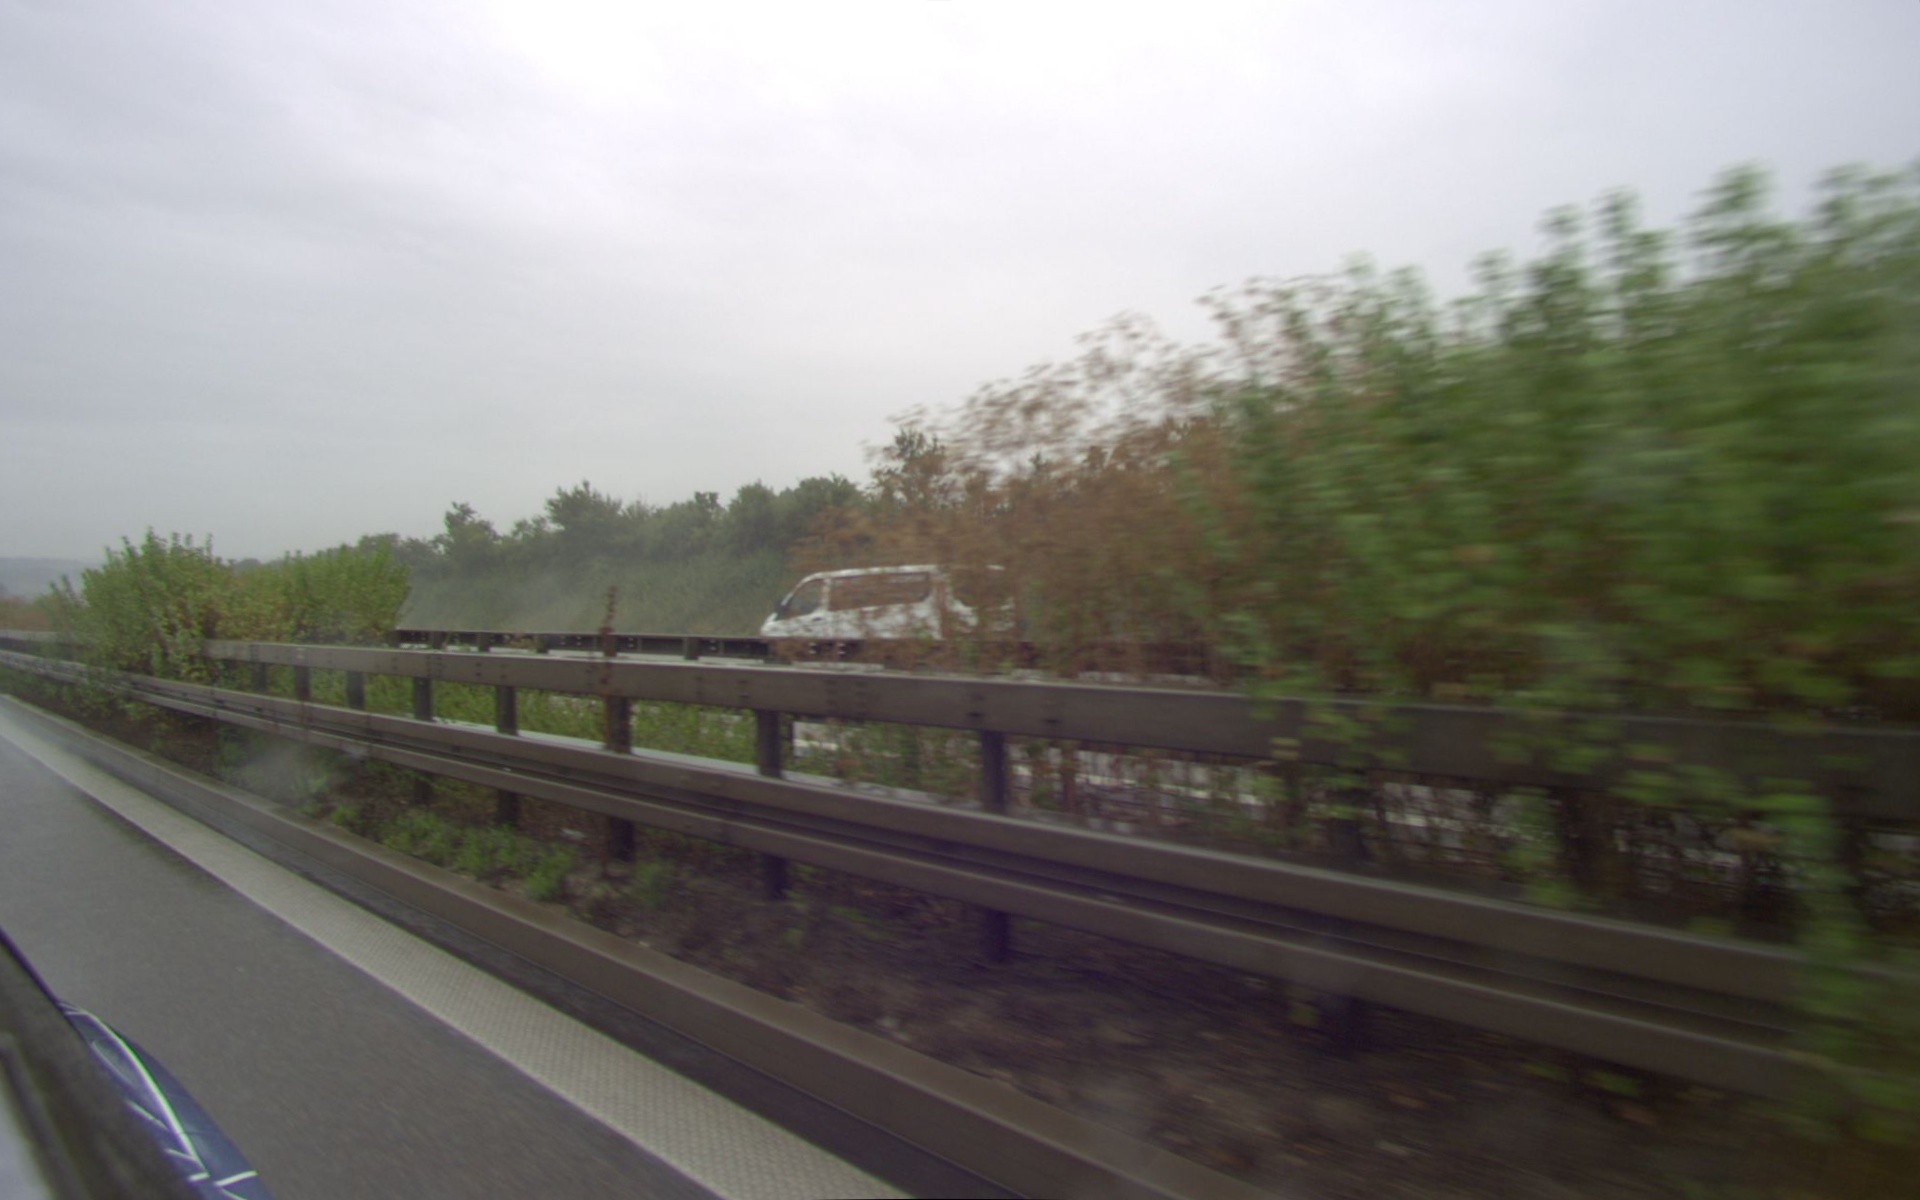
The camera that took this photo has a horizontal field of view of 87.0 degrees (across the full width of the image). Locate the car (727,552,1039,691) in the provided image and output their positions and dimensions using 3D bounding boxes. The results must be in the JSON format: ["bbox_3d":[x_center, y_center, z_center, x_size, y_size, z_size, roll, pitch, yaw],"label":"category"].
[{"bbox_3d":[-1.425,0.345,16.482,5.319,1.920,1.972,-2,-1,43],"label":"car"}]
